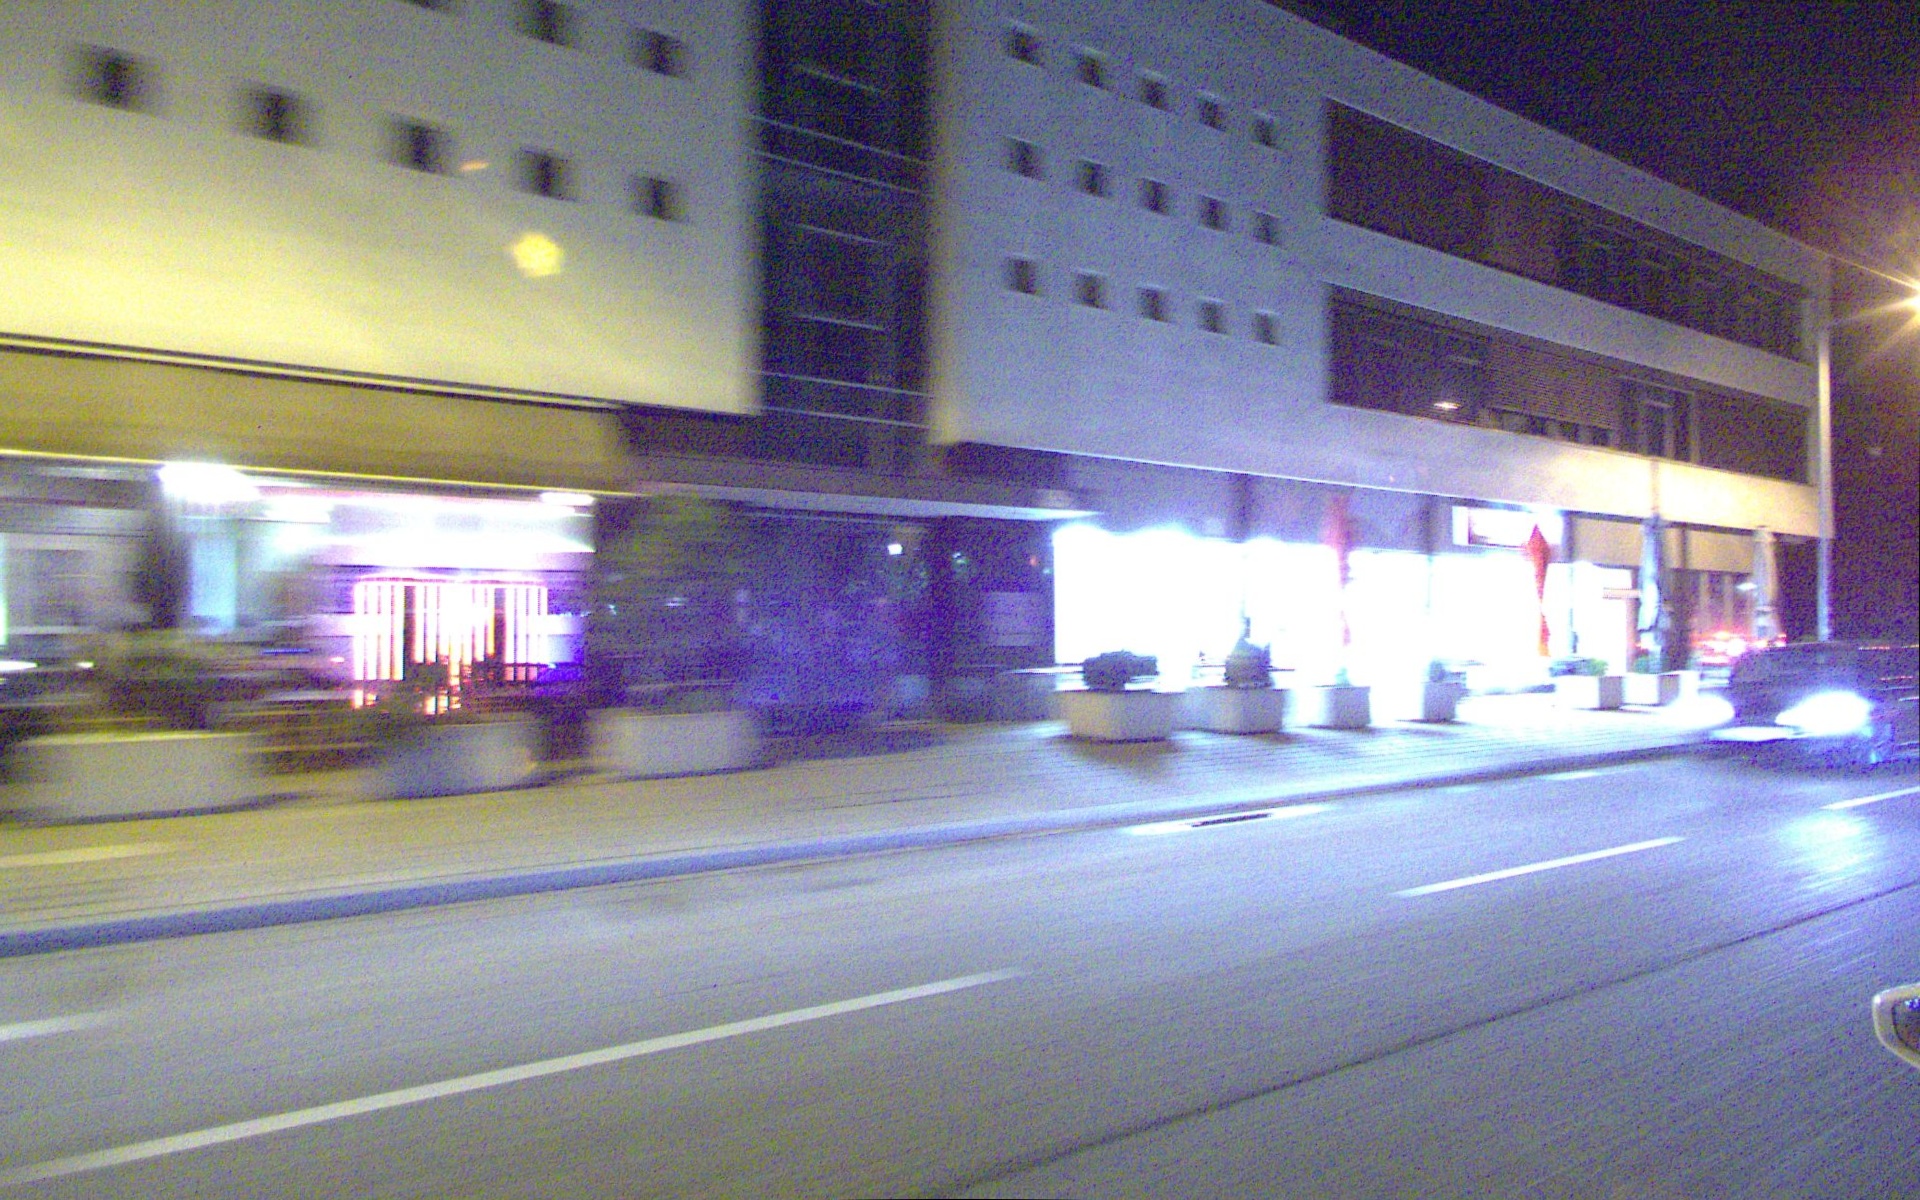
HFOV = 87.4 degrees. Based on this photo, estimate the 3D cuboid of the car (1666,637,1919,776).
[{"bbox_3d":[10.568,1.204,12.308,3.955,1.447,1.659,1,-4,-31],"label":"car"}]
